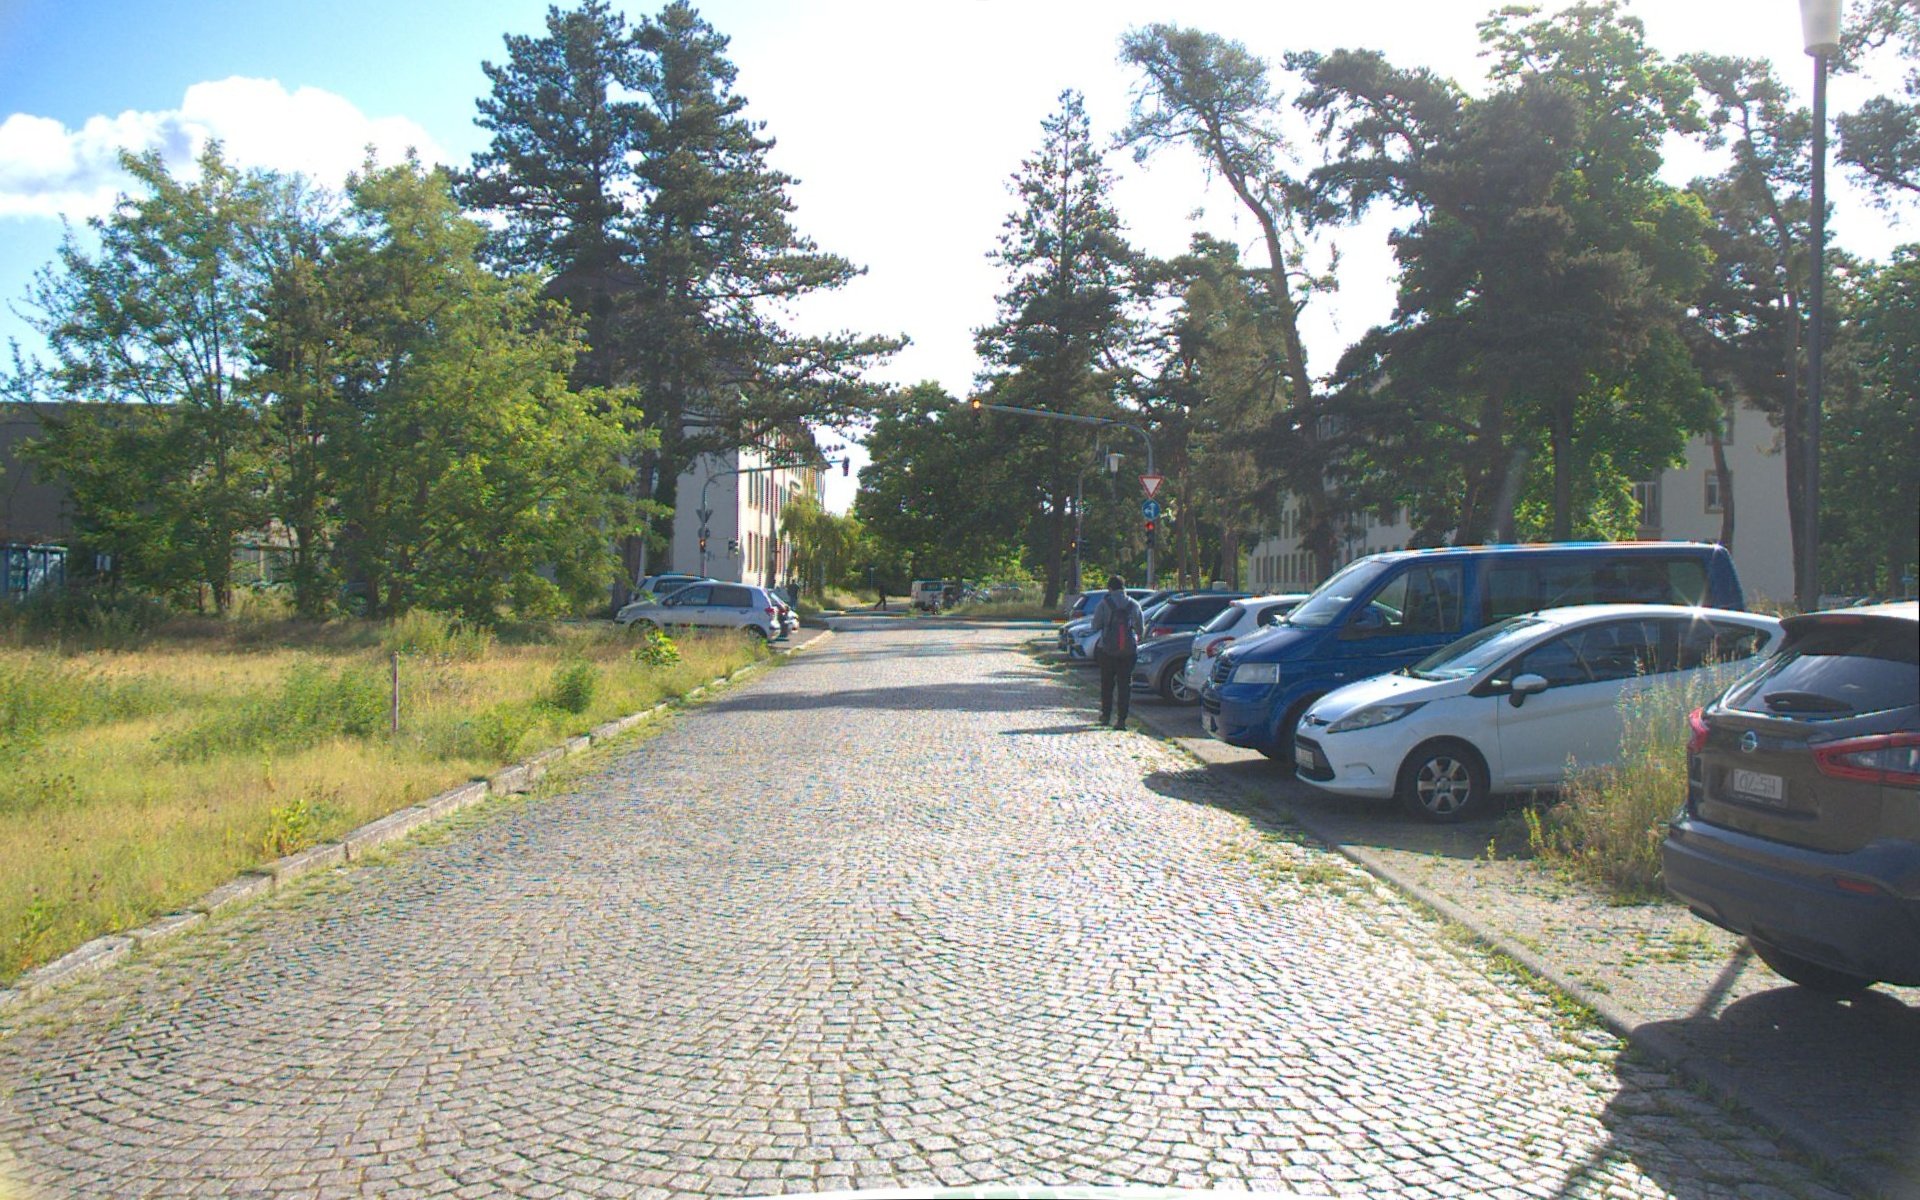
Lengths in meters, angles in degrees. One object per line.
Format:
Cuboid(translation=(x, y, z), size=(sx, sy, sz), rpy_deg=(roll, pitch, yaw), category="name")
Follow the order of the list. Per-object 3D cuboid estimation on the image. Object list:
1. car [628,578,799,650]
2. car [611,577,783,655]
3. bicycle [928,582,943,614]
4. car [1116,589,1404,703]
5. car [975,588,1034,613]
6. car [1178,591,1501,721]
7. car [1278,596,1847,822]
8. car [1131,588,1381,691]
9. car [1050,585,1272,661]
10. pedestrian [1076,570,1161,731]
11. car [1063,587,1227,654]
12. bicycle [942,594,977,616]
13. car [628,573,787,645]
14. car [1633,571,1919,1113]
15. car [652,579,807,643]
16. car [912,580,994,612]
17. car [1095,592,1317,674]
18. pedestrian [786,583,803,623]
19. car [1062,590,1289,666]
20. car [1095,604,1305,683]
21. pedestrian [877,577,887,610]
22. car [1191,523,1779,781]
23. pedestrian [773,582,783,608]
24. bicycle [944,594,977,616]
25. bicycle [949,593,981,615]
Cuboid(translation=(-5.943, 0.323, 40.191), size=(3.859, 1.470, 1.690), rpy_deg=(4, 0, -2), category="car")
Cuboid(translation=(-5.915, 0.347, 37.525), size=(3.613, 1.554, 1.698), rpy_deg=(3, 0, -4), category="car")
Cuboid(translation=(-1.246, -0.118, 84.137), size=(0.738, 1.608, 2.536), rpy_deg=(1, 0, -2), category="bicycle")
Cuboid(translation=(4.116, 0.609, 23.130), size=(3.703, 1.476, 1.758), rpy_deg=(-1, 0, 0), category="car")
Cuboid(translation=(2.920, 0.012, 109.286), size=(3.674, 1.607, 1.738), rpy_deg=(1, 0, -9), category="car")
Cuboid(translation=(4.558, 0.651, 20.207), size=(3.570, 1.518, 1.634), rpy_deg=(0, 0, -1), category="car")
Cuboid(translation=(4.372, 0.749, 12.332), size=(3.646, 1.492, 1.609), rpy_deg=(-1, 0, -3), category="car")
Cuboid(translation=(4.591, 0.589, 25.969), size=(3.589, 1.480, 1.666), rpy_deg=(-1, 0, -1), category="car")
Cuboid(translation=(4.322, 0.475, 36.051), size=(4.528, 1.481, 1.869), rpy_deg=(-2, 1, -4), category="car")
Cuboid(translation=(1.816, 0.567, 19.046), size=(0.738, 1.755, 0.828), rpy_deg=(5, 0, -2), category="pedestrian")
Cuboid(translation=(4.286, 0.463, 38.588), size=(3.599, 1.468, 1.665), rpy_deg=(-1, 0, -1), category="car")
Cuboid(translation=(-0.028, 0.267, 87.444), size=(1.798, 1.132, 0.495), rpy_deg=(0, 0, -5), category="bicycle")
Cuboid(translation=(-6.483, 0.231, 42.724), size=(3.802, 1.643, 1.660), rpy_deg=(3, 0, -2), category="car")
Cuboid(translation=(4.806, 0.725, 5.991), size=(4.025, 1.639, 1.785), rpy_deg=(0, 0, -3), category="car")
Cuboid(translation=(-6.319, 0.282, 45.574), size=(3.904, 1.522, 1.773), rpy_deg=(3, 0, 3), category="car")
Cuboid(translation=(-0.440, -0.245, 105.364), size=(4.975, 1.951, 1.995), rpy_deg=(0, 0, -11), category="car")
Cuboid(translation=(4.554, 0.599, 30.995), size=(3.899, 1.474, 1.655), rpy_deg=(0, 0, -2), category="car")
Cuboid(translation=(-7.426, 0.145, 74.243), size=(0.598, 1.783, 0.626), rpy_deg=(1, 0, -21), category="pedestrian")
Cuboid(translation=(4.302, 0.545, 33.408), size=(4.311, 1.413, 1.788), rpy_deg=(-1, 0, -2), category="car")
Cuboid(translation=(4.105, 0.736, 28.597), size=(3.390, 1.264, 1.536), rpy_deg=(1, 0, -1), category="car")
Cuboid(translation=(-4.839, -0.421, 102.907), size=(0.582, 2.049, 0.572), rpy_deg=(0, 0, -1), category="pedestrian")
Cuboid(translation=(4.579, 0.426, 14.963), size=(4.657, 2.049, 2.000), rpy_deg=(-2, 0, -1), category="car")
Cuboid(translation=(-11.135, -0.329, 101.093), size=(0.595, 1.587, 0.544), rpy_deg=(0, 0, -8), category="pedestrian")
Cuboid(translation=(0.029, 0.265, 87.990), size=(1.693, 1.132, 0.483), rpy_deg=(0, 0, -5), category="bicycle")
Cuboid(translation=(0.249, 0.226, 88.676), size=(1.693, 1.185, 0.560), rpy_deg=(0, 0, -5), category="bicycle")
